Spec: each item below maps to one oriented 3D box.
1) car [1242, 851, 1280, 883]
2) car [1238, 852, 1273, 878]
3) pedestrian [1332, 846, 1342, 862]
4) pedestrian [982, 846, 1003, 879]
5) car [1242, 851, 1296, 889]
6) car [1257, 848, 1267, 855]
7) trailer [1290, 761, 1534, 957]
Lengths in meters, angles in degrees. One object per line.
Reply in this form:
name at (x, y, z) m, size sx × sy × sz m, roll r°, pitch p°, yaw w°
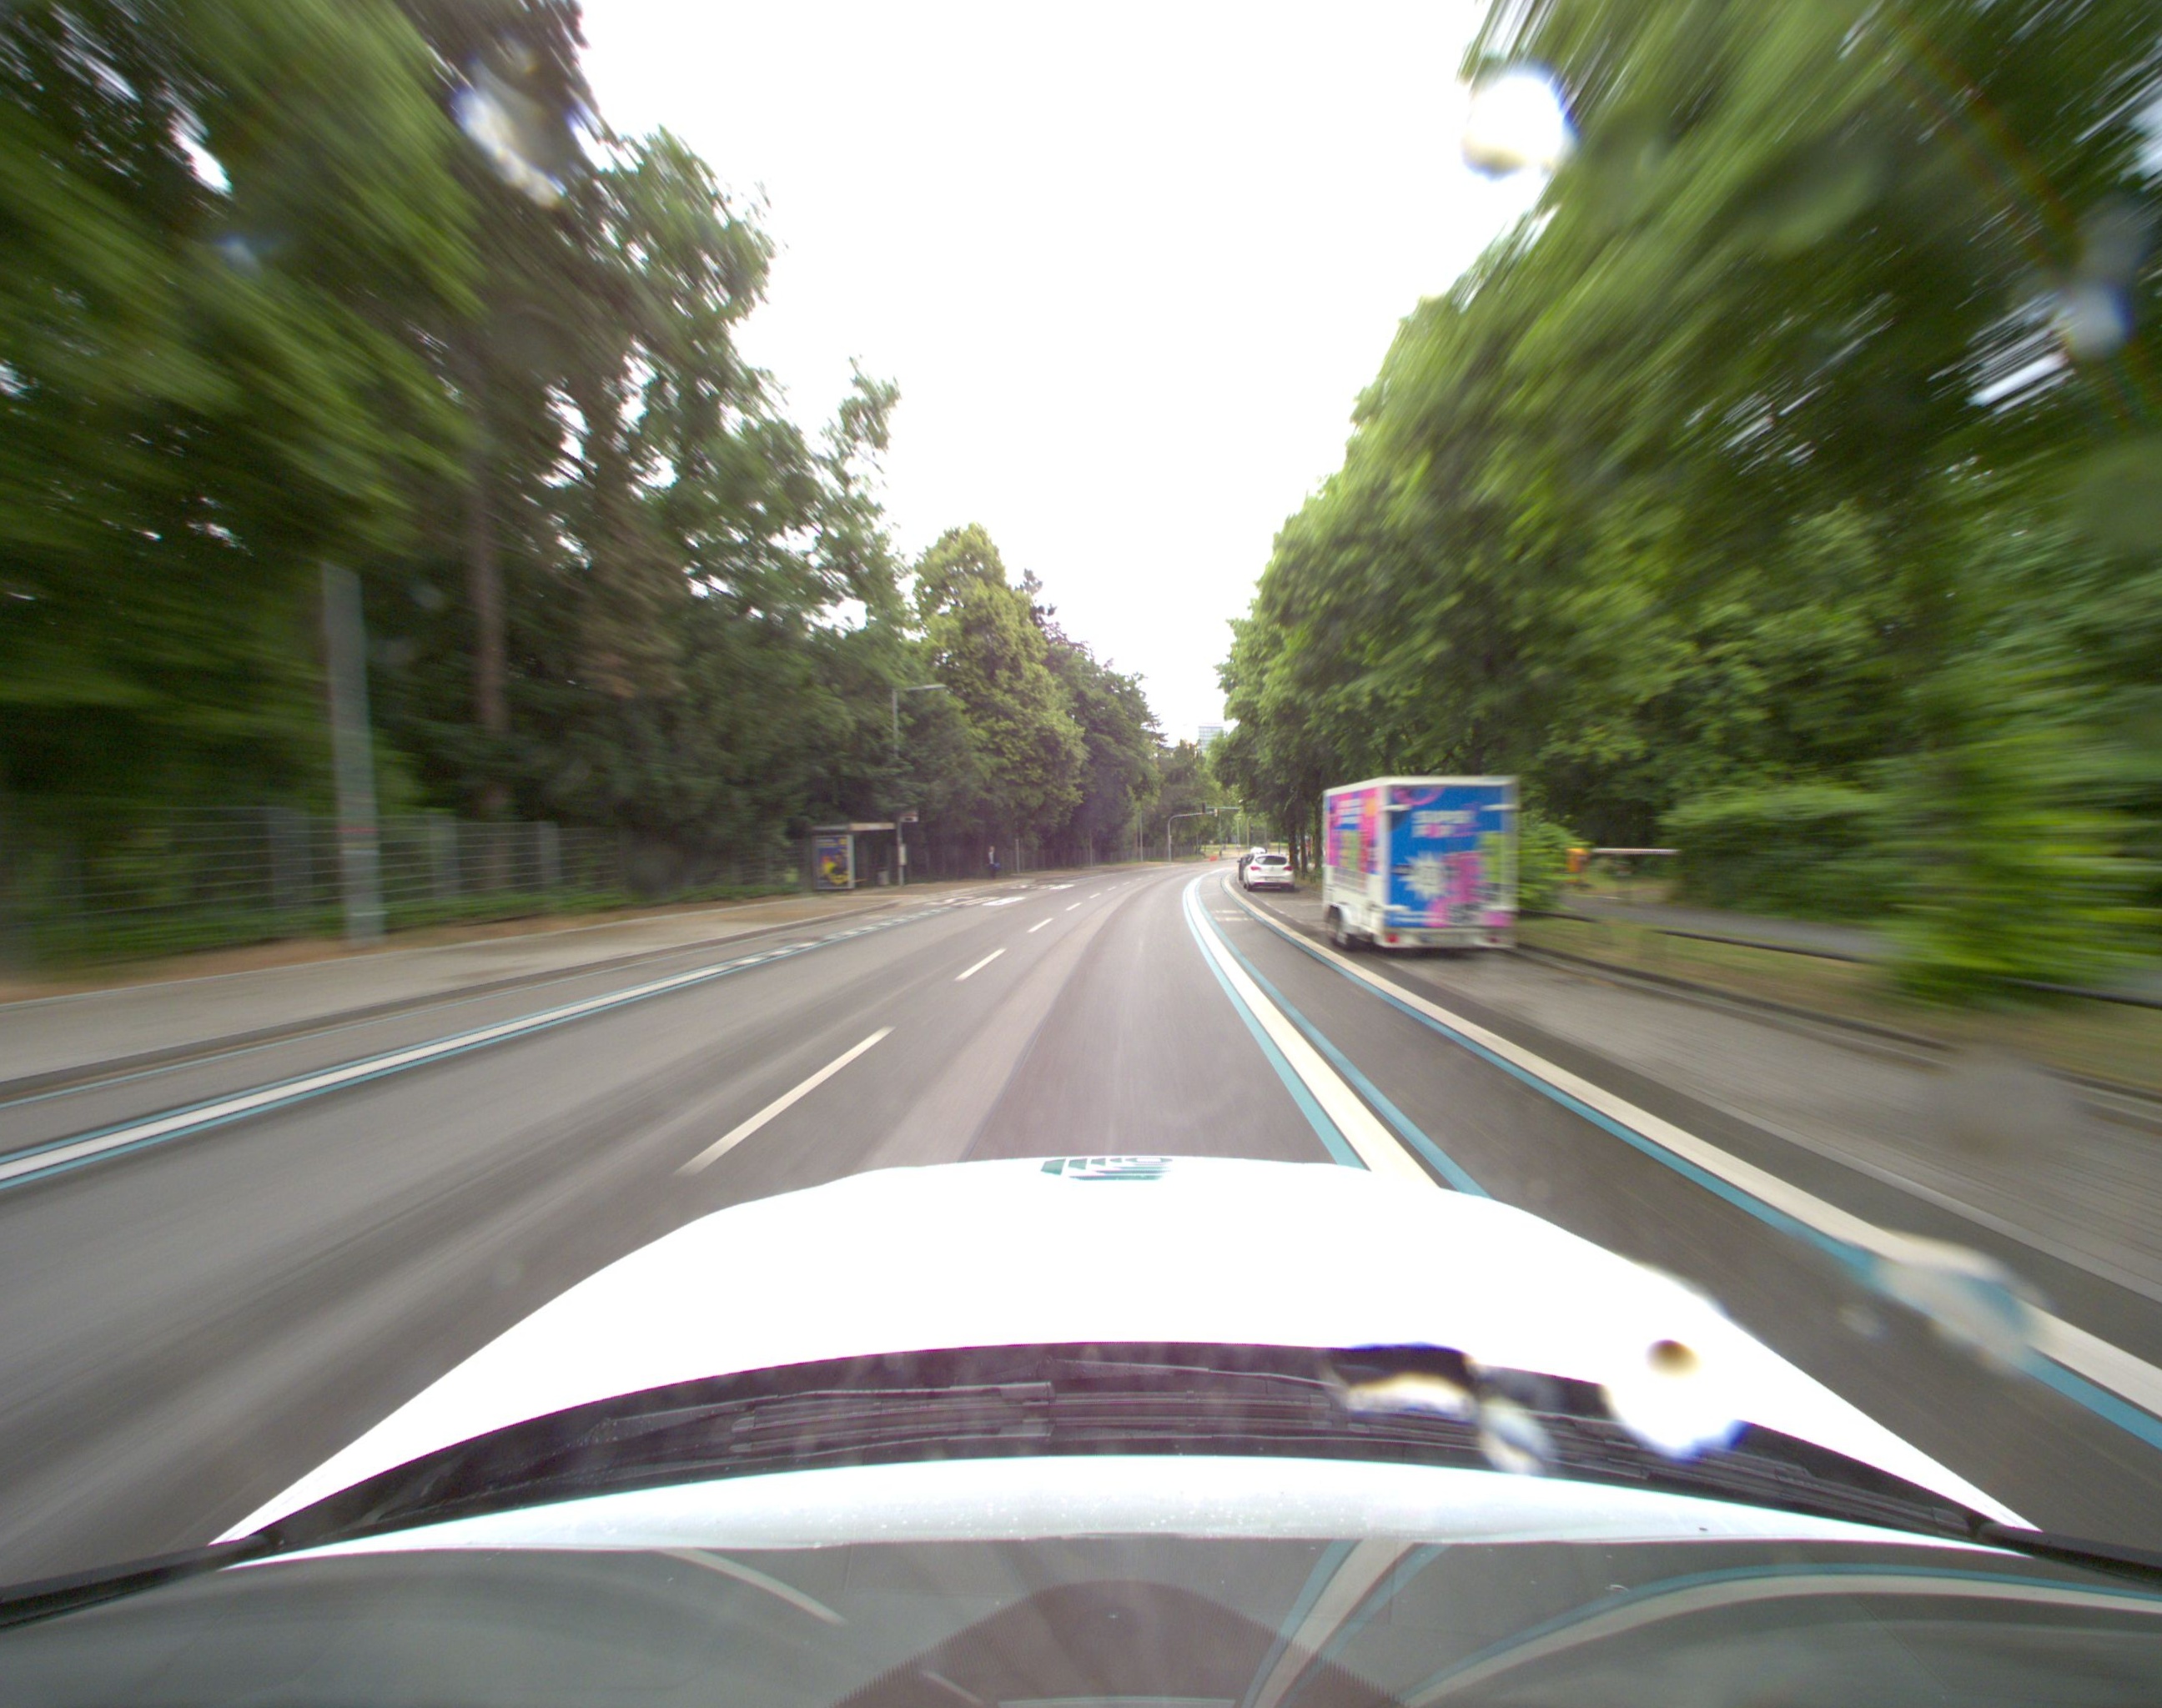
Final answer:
car at (8.632, 0.603, 39.138) m, size 1.672 × 1.428 × 4.332 m, roll 0°, pitch 0°, yaw 12°
car at (9.785, 0.593, 46.029) m, size 1.770 × 1.407 × 4.859 m, roll 0°, pitch 0°, yaw 10°
pedestrian at (28.693, -0.002, 91.219) m, size 0.878 × 1.733 × 1.153 m, roll 0°, pitch 0°, yaw 27°
pedestrian at (-4.714, 0.441, 43.262) m, size 0.883 × 1.733 × 1.147 m, roll 0°, pitch 0°, yaw 5°
car at (7.561, 0.607, 33.168) m, size 1.848 × 1.428 × 4.662 m, roll 0°, pitch 0°, yaw 9°
car at (40.944, -0.611, 184.099) m, size 1.828 × 1.457 × 4.522 m, roll -1°, pitch 1°, yaw 18°
trailer at (5.210, 0.068, 13.846) m, size 2.305 × 2.672 × 5.383 m, roll 0°, pitch 0°, yaw 4°
